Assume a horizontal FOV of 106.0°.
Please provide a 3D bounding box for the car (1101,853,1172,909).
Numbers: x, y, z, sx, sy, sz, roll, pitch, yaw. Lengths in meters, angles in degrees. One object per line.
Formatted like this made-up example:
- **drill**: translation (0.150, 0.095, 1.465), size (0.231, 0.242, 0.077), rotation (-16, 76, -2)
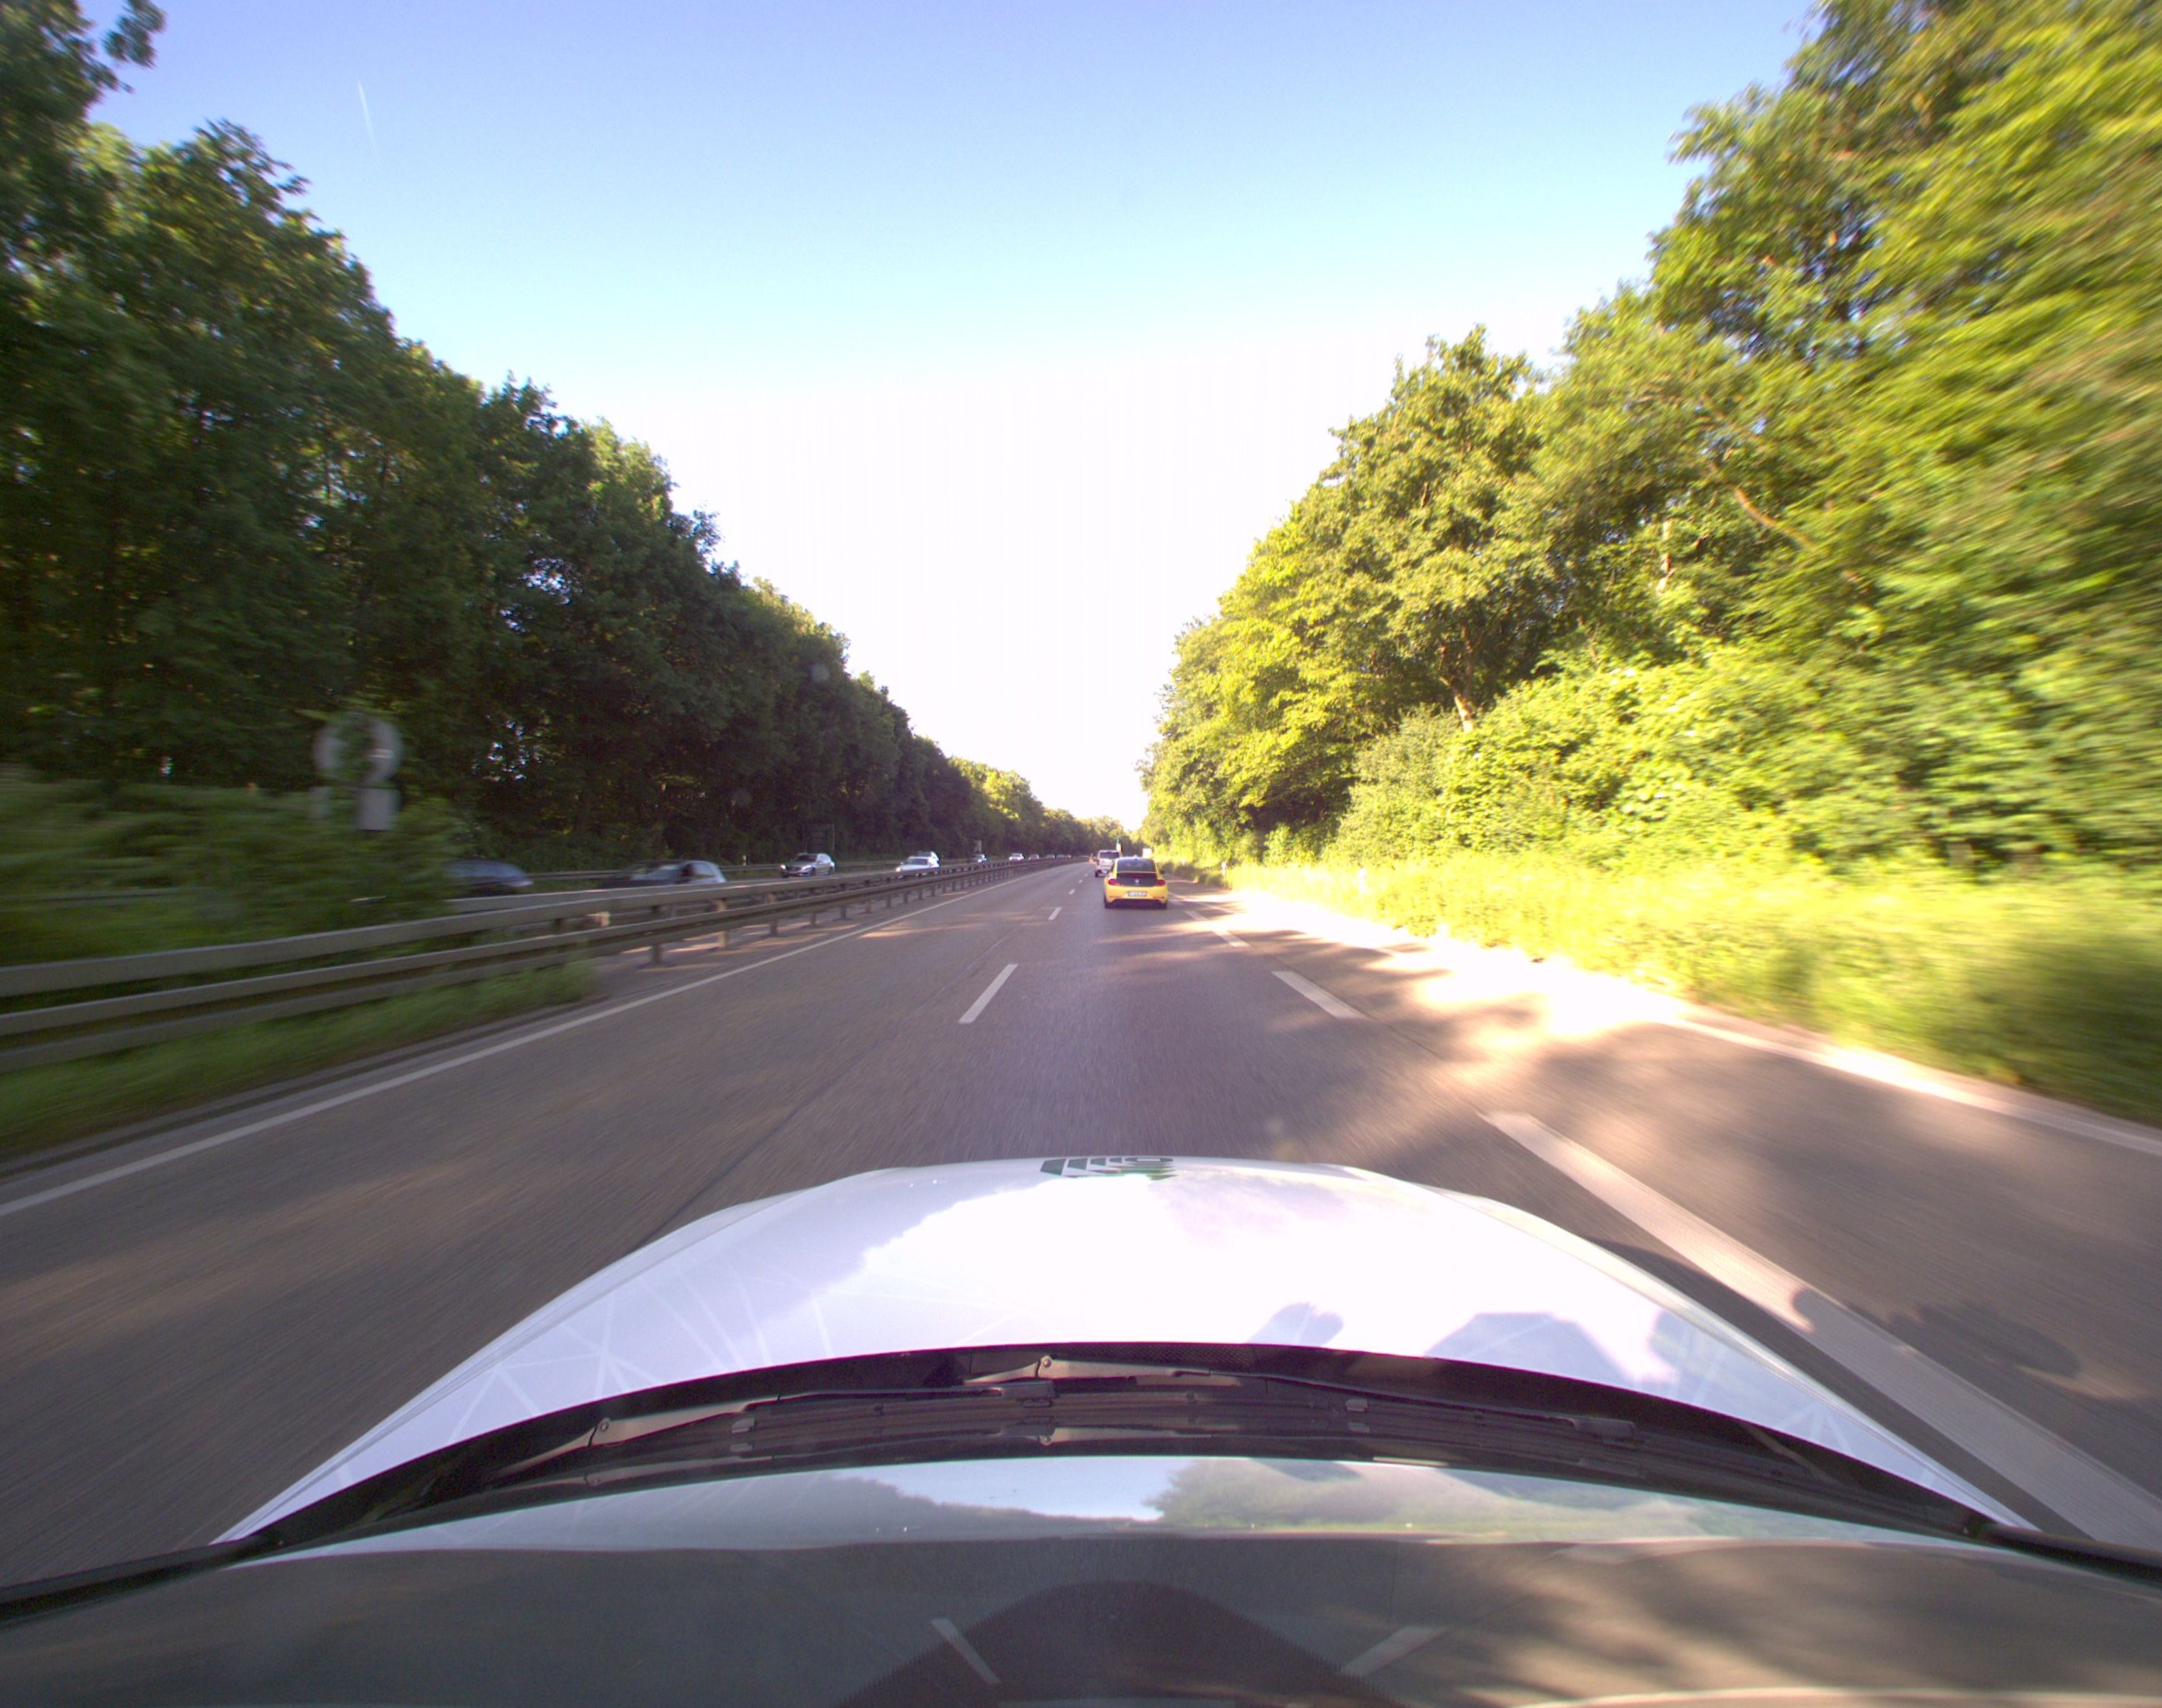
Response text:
- **car**: translation (1.681, 0.764, 24.210), size (1.930, 1.508, 3.427), rotation (-1, 0, 5)

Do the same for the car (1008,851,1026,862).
- **car**: translation (-10.051, 0.426, 128.653), size (1.984, 1.623, 4.796), rotation (-1, 0, 5)

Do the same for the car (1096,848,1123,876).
- **car**: translation (1.842, 0.514, 53.627), size (1.735, 1.830, 3.423), rotation (0, 0, 1)

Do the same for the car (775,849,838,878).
- **car**: translation (-16.181, 0.567, 48.342), size (1.986, 1.600, 4.709), rotation (-1, 0, 2)

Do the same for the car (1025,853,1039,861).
- **car**: translation (-8.966, 0.527, 149.881), size (1.985, 1.464, 4.004), rotation (-1, 0, 3)

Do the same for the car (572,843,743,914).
- **car**: translation (-10.368, 0.560, 20.354), size (1.986, 1.540, 4.120), rotation (-1, 0, 2)

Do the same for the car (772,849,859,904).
- **car**: translation (-9.740, 0.804, 30.238), size (1.781, 1.860, 4.001), rotation (-1, 0, 2)

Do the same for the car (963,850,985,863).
- **car**: translation (-12.592, 0.292, 95.944), size (1.986, 1.486, 4.001), rotation (-1, 0, 2)

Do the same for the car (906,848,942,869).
- **car**: translation (-13.401, 0.411, 69.862), size (1.986, 1.699, 4.910), rotation (-1, 0, 2)

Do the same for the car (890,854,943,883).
- **car**: translation (-9.544, 0.819, 47.643), size (1.986, 1.560, 4.709), rotation (-1, 0, 2)
